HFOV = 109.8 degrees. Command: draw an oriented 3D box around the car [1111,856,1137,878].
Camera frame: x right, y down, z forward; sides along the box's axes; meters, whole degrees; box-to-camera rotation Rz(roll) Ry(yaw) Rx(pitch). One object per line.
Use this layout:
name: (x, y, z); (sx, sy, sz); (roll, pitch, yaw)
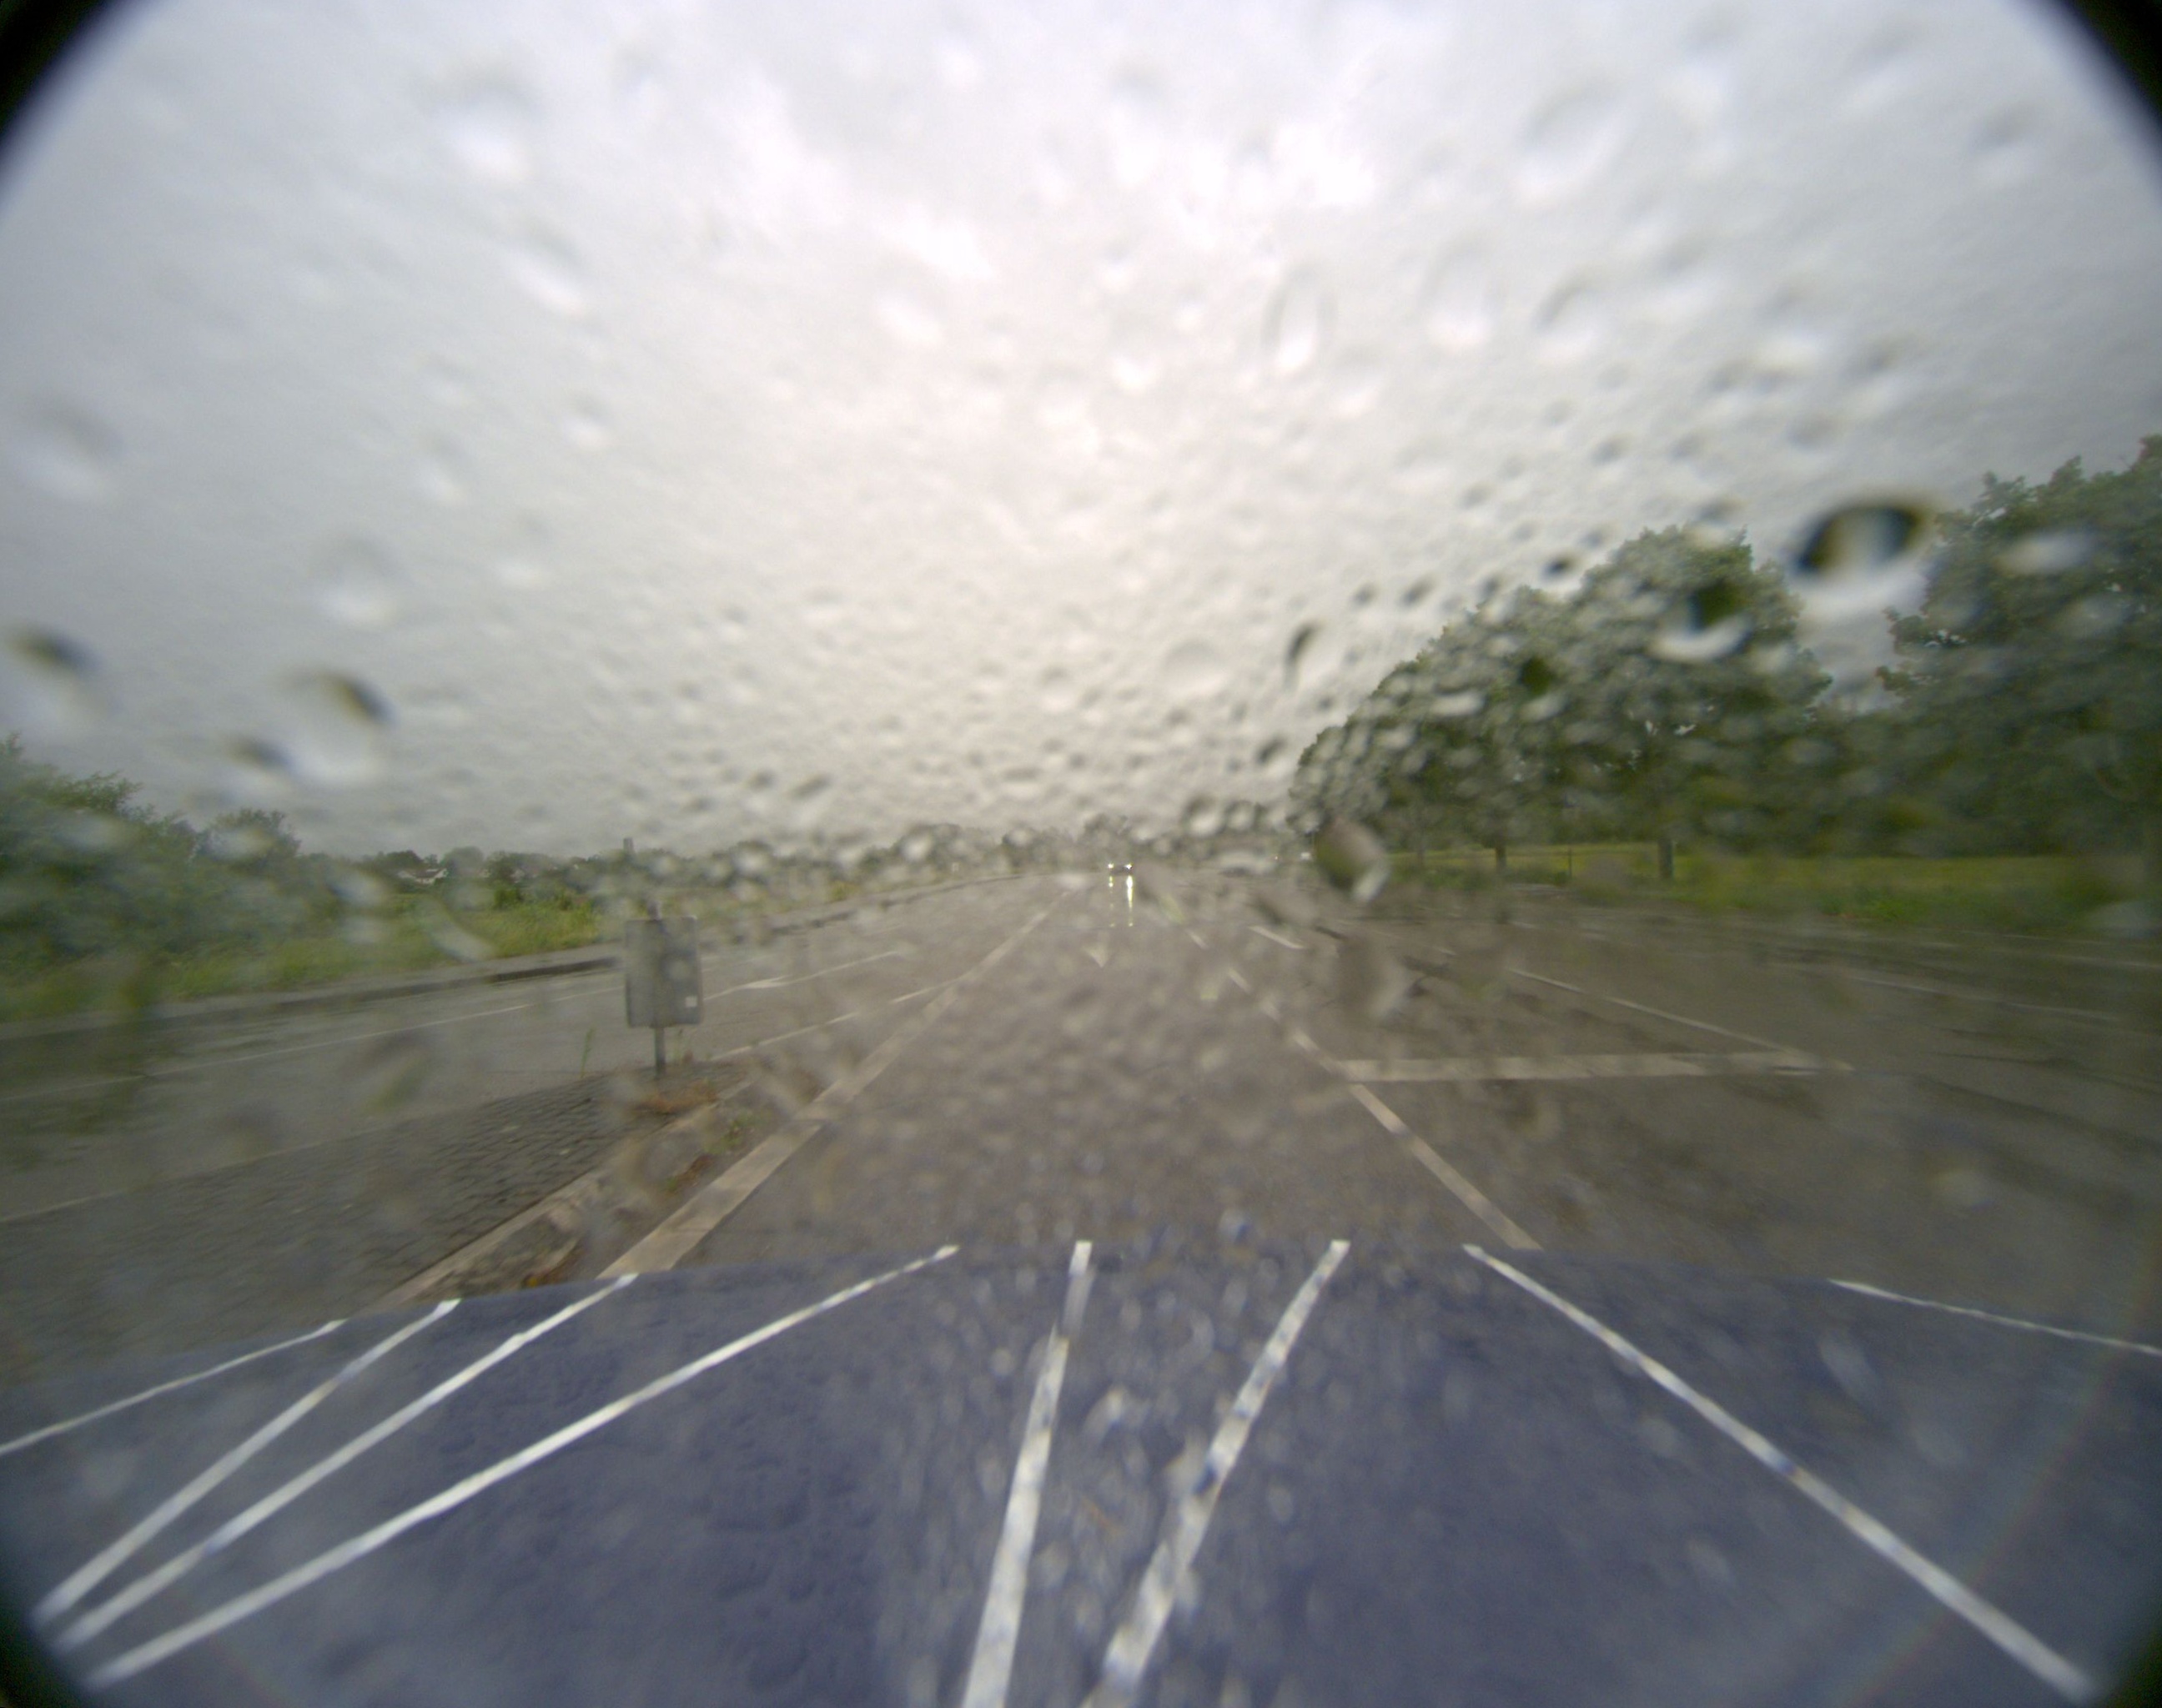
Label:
car: (3.490, 1.041, 61.196); (1.915, 1.576, 4.104); (-2, 1, 6)

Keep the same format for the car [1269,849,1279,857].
car: (40.852, -0.176, 161.087); (1.914, 1.678, 4.107); (-2, 1, 15)

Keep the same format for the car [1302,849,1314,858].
car: (52.193, -0.127, 174.878); (2.108, 1.881, 4.798); (-2, 0, 21)
